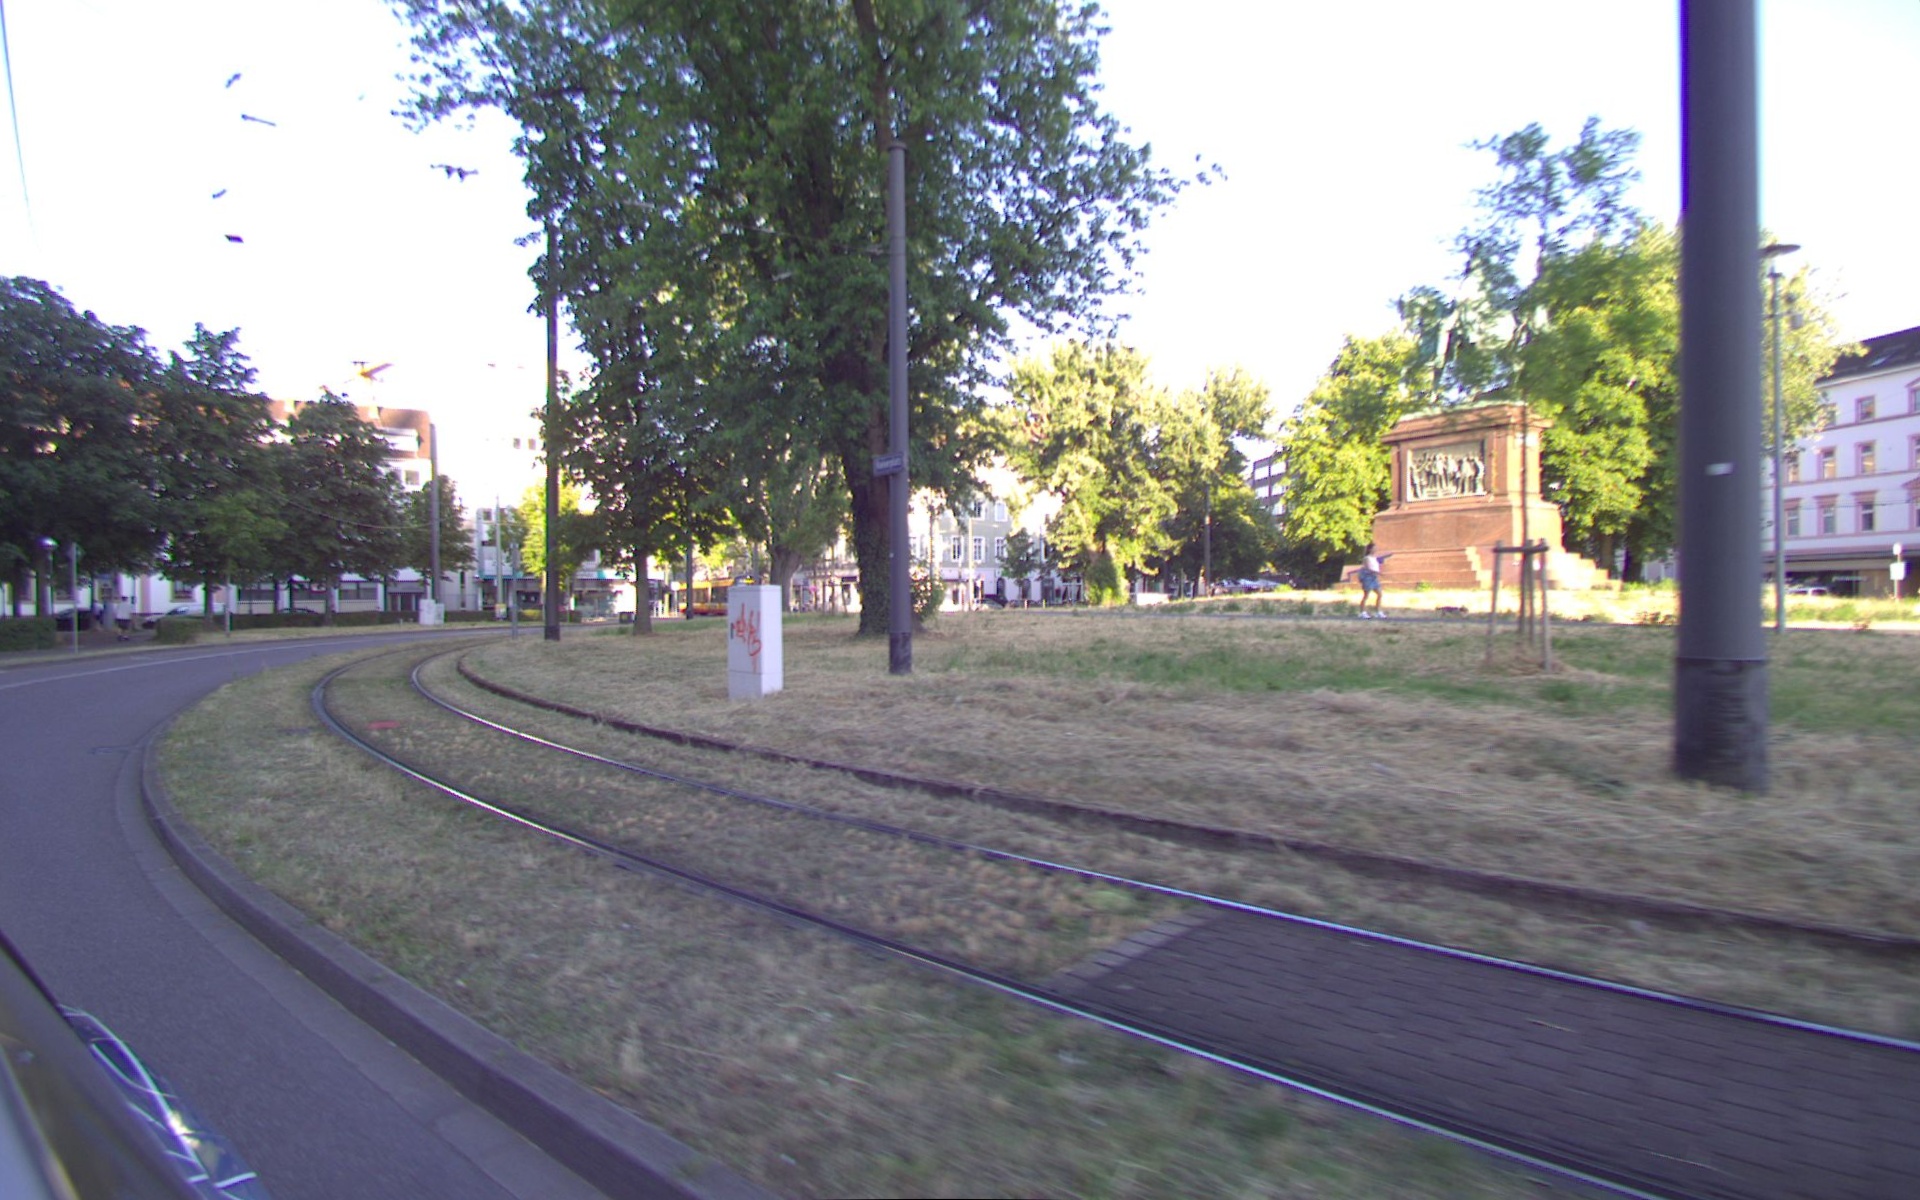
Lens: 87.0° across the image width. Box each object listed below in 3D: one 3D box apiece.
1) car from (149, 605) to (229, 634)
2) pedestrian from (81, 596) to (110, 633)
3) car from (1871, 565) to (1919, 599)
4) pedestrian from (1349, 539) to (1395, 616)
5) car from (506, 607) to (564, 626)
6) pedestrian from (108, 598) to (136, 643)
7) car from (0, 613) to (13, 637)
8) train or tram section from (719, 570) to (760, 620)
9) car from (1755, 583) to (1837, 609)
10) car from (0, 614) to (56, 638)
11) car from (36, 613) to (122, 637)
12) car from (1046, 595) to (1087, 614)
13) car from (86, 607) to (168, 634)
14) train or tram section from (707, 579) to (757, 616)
[{"bbox_3d":[-49.059,1.239,64.508,3.946,1.738,1.706,0,-1,-33],"label":"car"},{"bbox_3d":[-48.461,0.799,56.743,0.818,2.029,1.009,-1,-1,-2],"label":"pedestrian"},{"bbox_3d":[56.788,-1.089,59.759,1.732,1.959,4.217,-1,-1,-9],"label":"car"},{"bbox_3d":[9.246,-0.494,22.715,0.836,1.703,0.469,-1,-1,45],"label":"pedestrian"},{"bbox_3d":[-33.441,1.295,79.559,3.932,1.461,1.853,-1,-1,-33],"label":"car"},{"bbox_3d":[-32.784,0.784,39.585,0.756,1.729,0.788,0,-1,-33],"label":"pedestrian"},{"bbox_3d":[-58.147,1.483,58.768,4.321,1.430,1.732,0,-1,-33],"label":"car"},{"bbox_3d":[-17.906,-0.425,81.658,2.901,3.611,13.403,-1,1,-13],"label":"train or tram section"},{"bbox_3d":[55.996,-0.240,67.870,1.732,1.676,4.007,-1,-1,-9],"label":"car"},{"bbox_3d":[-59.758,1.665,63.954,3.614,1.460,1.706,0,-1,-31],"label":"car"},{"bbox_3d":[-53.683,1.514,61.740,3.719,1.346,1.732,0,-1,-33],"label":"car"},{"bbox_3d":[11.053,0.480,105.099,3.933,1.918,2.005,0,-1,-35],"label":"car"},{"bbox_3d":[-54.870,1.349,66.753,3.945,1.738,1.706,0,-1,-31],"label":"car"},{"bbox_3d":[-21.321,-0.291,94.204,2.881,3.165,12.899,-1,1,-20],"label":"train or tram section"}]
